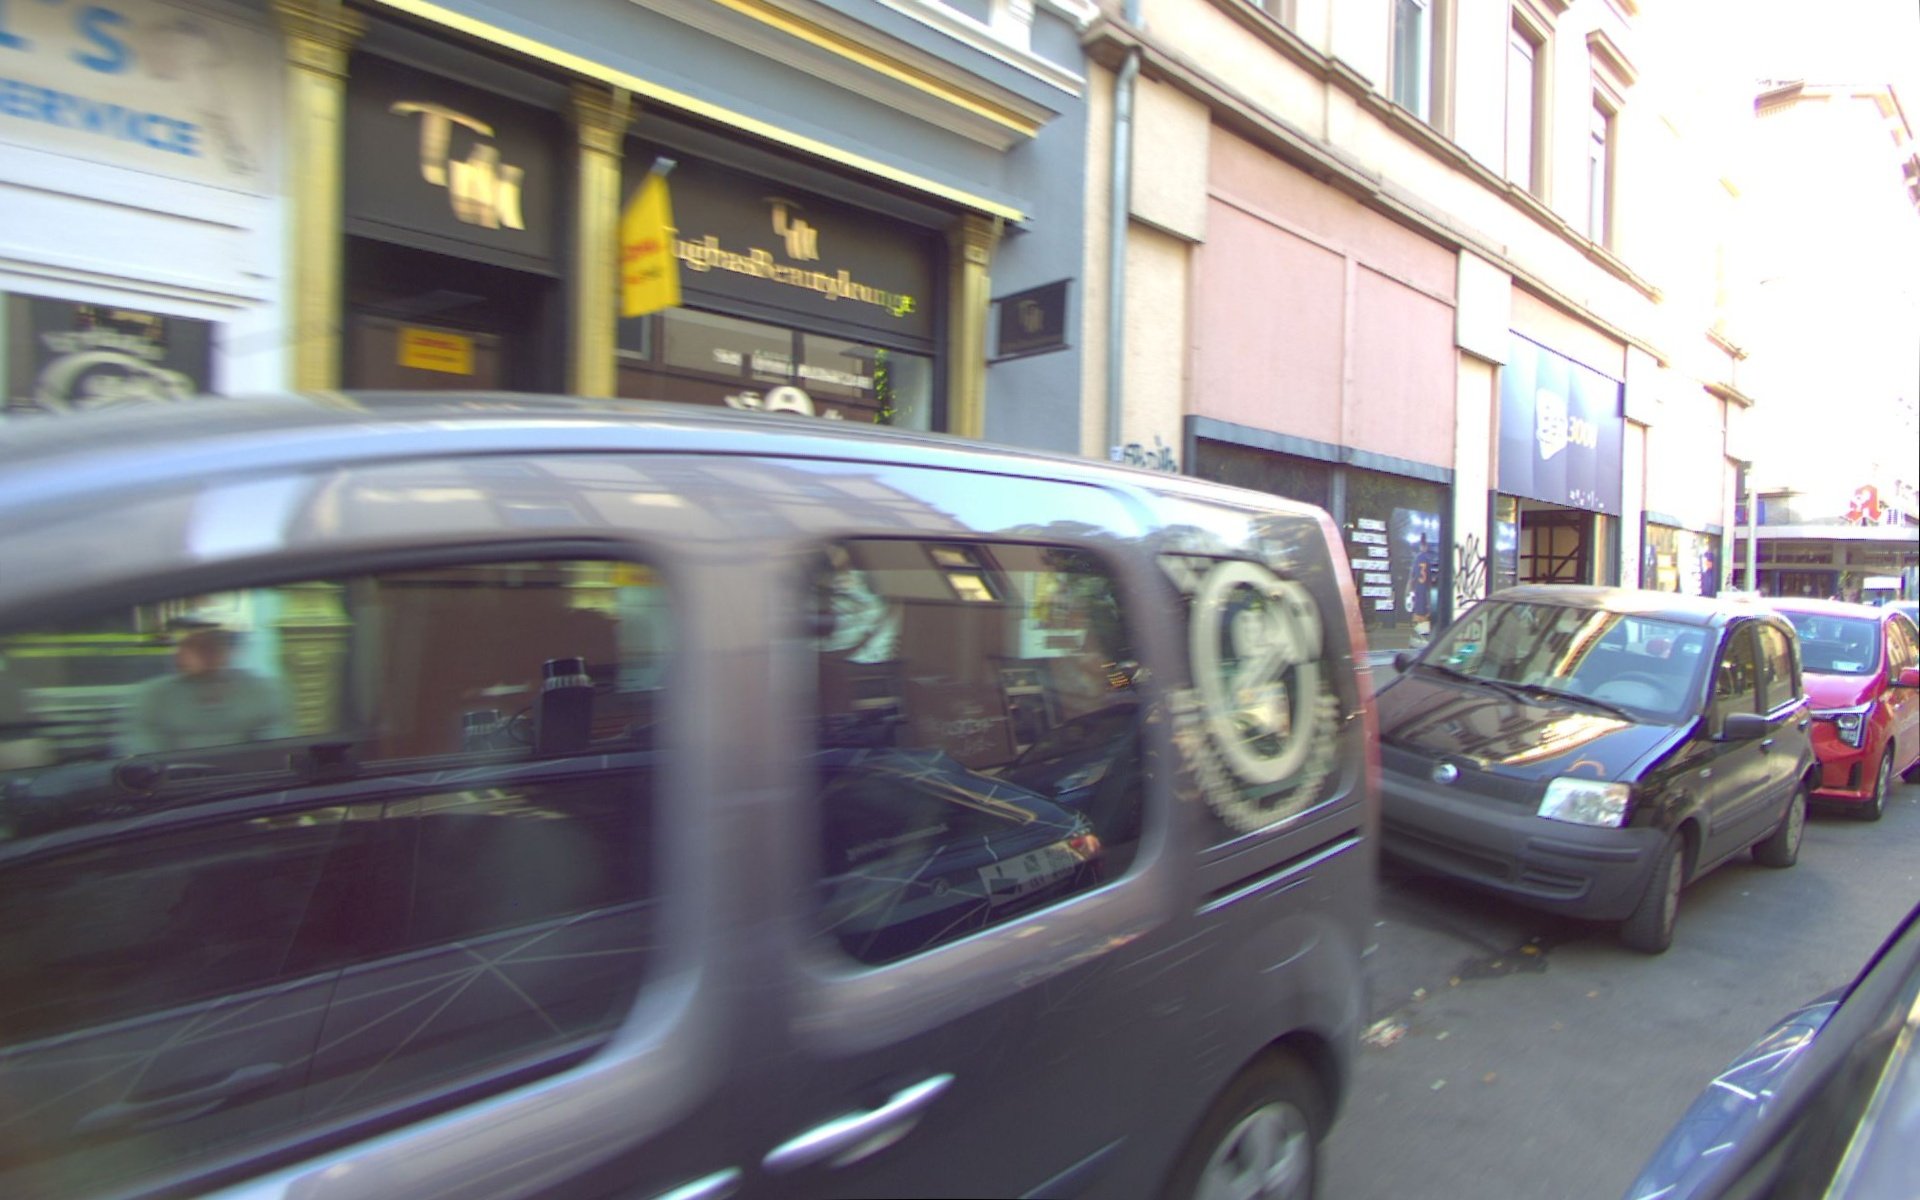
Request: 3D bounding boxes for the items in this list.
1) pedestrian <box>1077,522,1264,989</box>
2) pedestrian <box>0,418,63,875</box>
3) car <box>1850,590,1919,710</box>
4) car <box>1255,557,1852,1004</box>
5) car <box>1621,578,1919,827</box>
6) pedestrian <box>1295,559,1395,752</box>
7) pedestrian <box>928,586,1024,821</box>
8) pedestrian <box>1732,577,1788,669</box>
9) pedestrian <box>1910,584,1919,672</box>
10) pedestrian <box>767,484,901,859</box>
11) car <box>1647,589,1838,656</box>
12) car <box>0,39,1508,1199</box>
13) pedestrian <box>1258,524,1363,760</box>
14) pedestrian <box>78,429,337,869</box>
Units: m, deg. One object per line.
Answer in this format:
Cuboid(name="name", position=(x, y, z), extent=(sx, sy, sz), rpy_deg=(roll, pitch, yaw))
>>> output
Cuboid(name="pedestrian", position=(0.859, 0.568, 4.113), extent=(0.643, 1.725, 0.442), rpy_deg=(-1, 1, -40))
Cuboid(name="pedestrian", position=(-3.093, 0.130, 2.987), extent=(0.617, 1.293, 0.677), rpy_deg=(-1, 1, -38))
Cuboid(name="car", position=(14.220, 0.642, 14.511), extent=(4.067, 1.535, 1.789), rpy_deg=(-1, 1, -43))
Cuboid(name="car", position=(3.233, 0.620, 5.338), extent=(3.254, 1.575, 1.575), rpy_deg=(-1, 5, -39))
Cuboid(name="car", position=(6.866, 0.622, 8.232), extent=(3.492, 1.592, 1.609), rpy_deg=(-1, 1, -41))
Cuboid(name="pedestrian", position=(3.250, 0.438, 8.545), extent=(0.587, 1.549, 0.648), rpy_deg=(0, 1, 44))
Cuboid(name="pedestrian", position=(0.080, 0.544, 5.609), extent=(0.505, 1.238, 0.532), rpy_deg=(0, 1, 0))
Cuboid(name="pedestrian", position=(14.857, 0.422, 18.809), extent=(0.455, 1.671, 0.602), rpy_deg=(3, 0, -9))
Cuboid(name="pedestrian", position=(18.478, 0.528, 19.109), extent=(0.555, 1.659, 0.528), rpy_deg=(0, 0, 4))
Cuboid(name="pedestrian", position=(-0.640, 0.332, 5.104), extent=(0.420, 1.762, 0.561), rpy_deg=(-1, 1, -42))
Cuboid(name="car", position=(20.067, 0.517, 26.049), extent=(1.757, 1.504, 3.581), rpy_deg=(-1, 2, -40))
Cuboid(name="car", position=(-0.998, 0.533, 1.575), extent=(4.240, 1.816, 1.902), rpy_deg=(-1, 1, -41))
Cuboid(name="pedestrian", position=(2.772, 0.305, 7.993), extent=(0.627, 1.762, 0.650), rpy_deg=(0, 1, 37))
Cuboid(name="pedestrian", position=(-2.539, 0.136, 3.437), extent=(0.642, 1.293, 0.677), rpy_deg=(-1, 1, -38))
